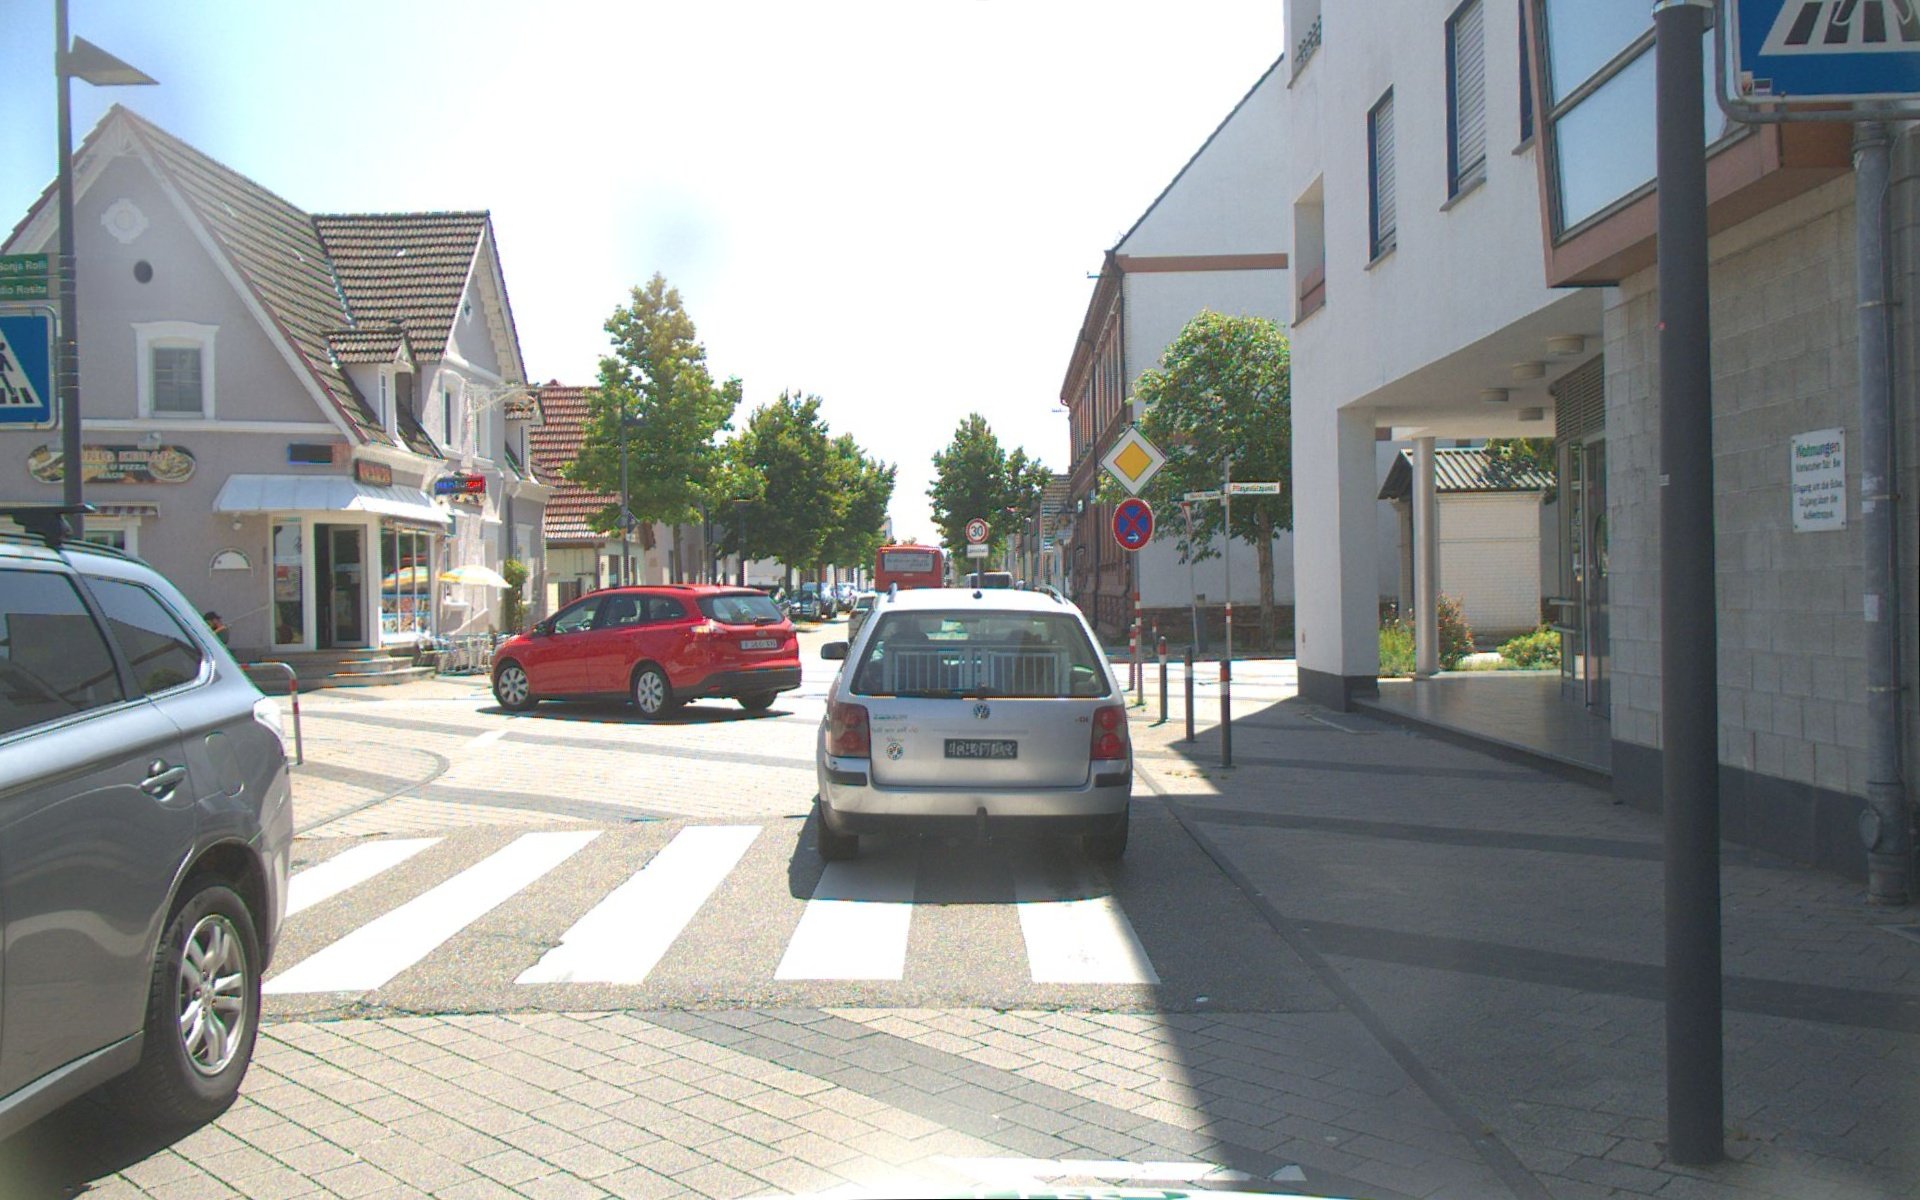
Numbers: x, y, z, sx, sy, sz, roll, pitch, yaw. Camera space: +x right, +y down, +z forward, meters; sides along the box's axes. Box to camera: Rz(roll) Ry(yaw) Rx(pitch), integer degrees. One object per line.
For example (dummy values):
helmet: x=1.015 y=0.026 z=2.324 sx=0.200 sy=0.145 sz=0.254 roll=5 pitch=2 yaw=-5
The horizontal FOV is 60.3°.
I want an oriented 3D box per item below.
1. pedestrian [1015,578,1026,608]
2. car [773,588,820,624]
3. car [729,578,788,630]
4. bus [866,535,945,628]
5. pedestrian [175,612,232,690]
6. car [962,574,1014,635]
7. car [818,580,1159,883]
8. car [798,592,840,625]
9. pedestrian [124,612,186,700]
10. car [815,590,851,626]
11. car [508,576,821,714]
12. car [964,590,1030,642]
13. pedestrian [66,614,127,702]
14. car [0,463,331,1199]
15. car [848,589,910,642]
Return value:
pedestrian: x=3.510 y=-0.395 z=96.093 sx=0.594 sy=1.696 sz=0.789 roll=-1 pitch=0 yaw=-2
car: x=-7.535 y=0.252 z=76.594 sx=1.774 sy=1.586 sz=3.999 roll=-1 pitch=0 yaw=-1
car: x=-7.475 y=0.132 z=61.734 sx=1.728 sy=1.870 sz=3.788 roll=-1 pitch=0 yaw=-1
bus: x=-2.050 y=-0.685 z=66.553 sx=2.684 sy=3.356 sz=12.705 roll=-1 pitch=0 yaw=0
pedestrian: x=-12.098 y=0.807 z=26.471 sx=0.609 sy=1.199 sz=0.696 roll=-1 pitch=0 yaw=-5
car: x=0.994 y=0.149 z=60.811 sx=1.751 sy=2.118 sz=3.625 roll=-1 pitch=0 yaw=-1
car: x=0.125 y=0.630 z=9.867 sx=1.642 sy=1.455 sz=3.679 roll=1 pitch=0 yaw=0
car: x=-7.081 y=0.404 z=83.189 sx=1.774 sy=1.586 sz=3.999 roll=-1 pitch=0 yaw=-1
pedestrian: x=-12.397 y=0.853 z=25.472 sx=0.631 sy=1.311 sz=0.777 roll=1 pitch=0 yaw=-44
car: x=-7.283 y=0.437 z=95.333 sx=1.774 sy=2.030 sz=3.999 roll=-1 pitch=0 yaw=-1
car: x=-3.513 y=0.496 z=19.391 sx=3.610 sy=1.455 sz=1.674 roll=-1 pitch=0 yaw=40
car: x=0.984 y=0.422 z=45.540 sx=1.684 sy=1.332 sz=3.625 roll=-1 pitch=0 yaw=-1
pedestrian: x=-13.372 y=0.886 z=25.620 sx=0.631 sy=1.311 sz=0.777 roll=1 pitch=0 yaw=-44
car: x=-2.868 y=0.598 z=3.314 sx=1.641 sy=1.746 sz=4.231 roll=-1 pitch=0 yaw=-1
car: x=-2.268 y=0.424 z=47.130 sx=1.561 sy=1.455 sz=3.680 roll=0 pitch=0 yaw=0
